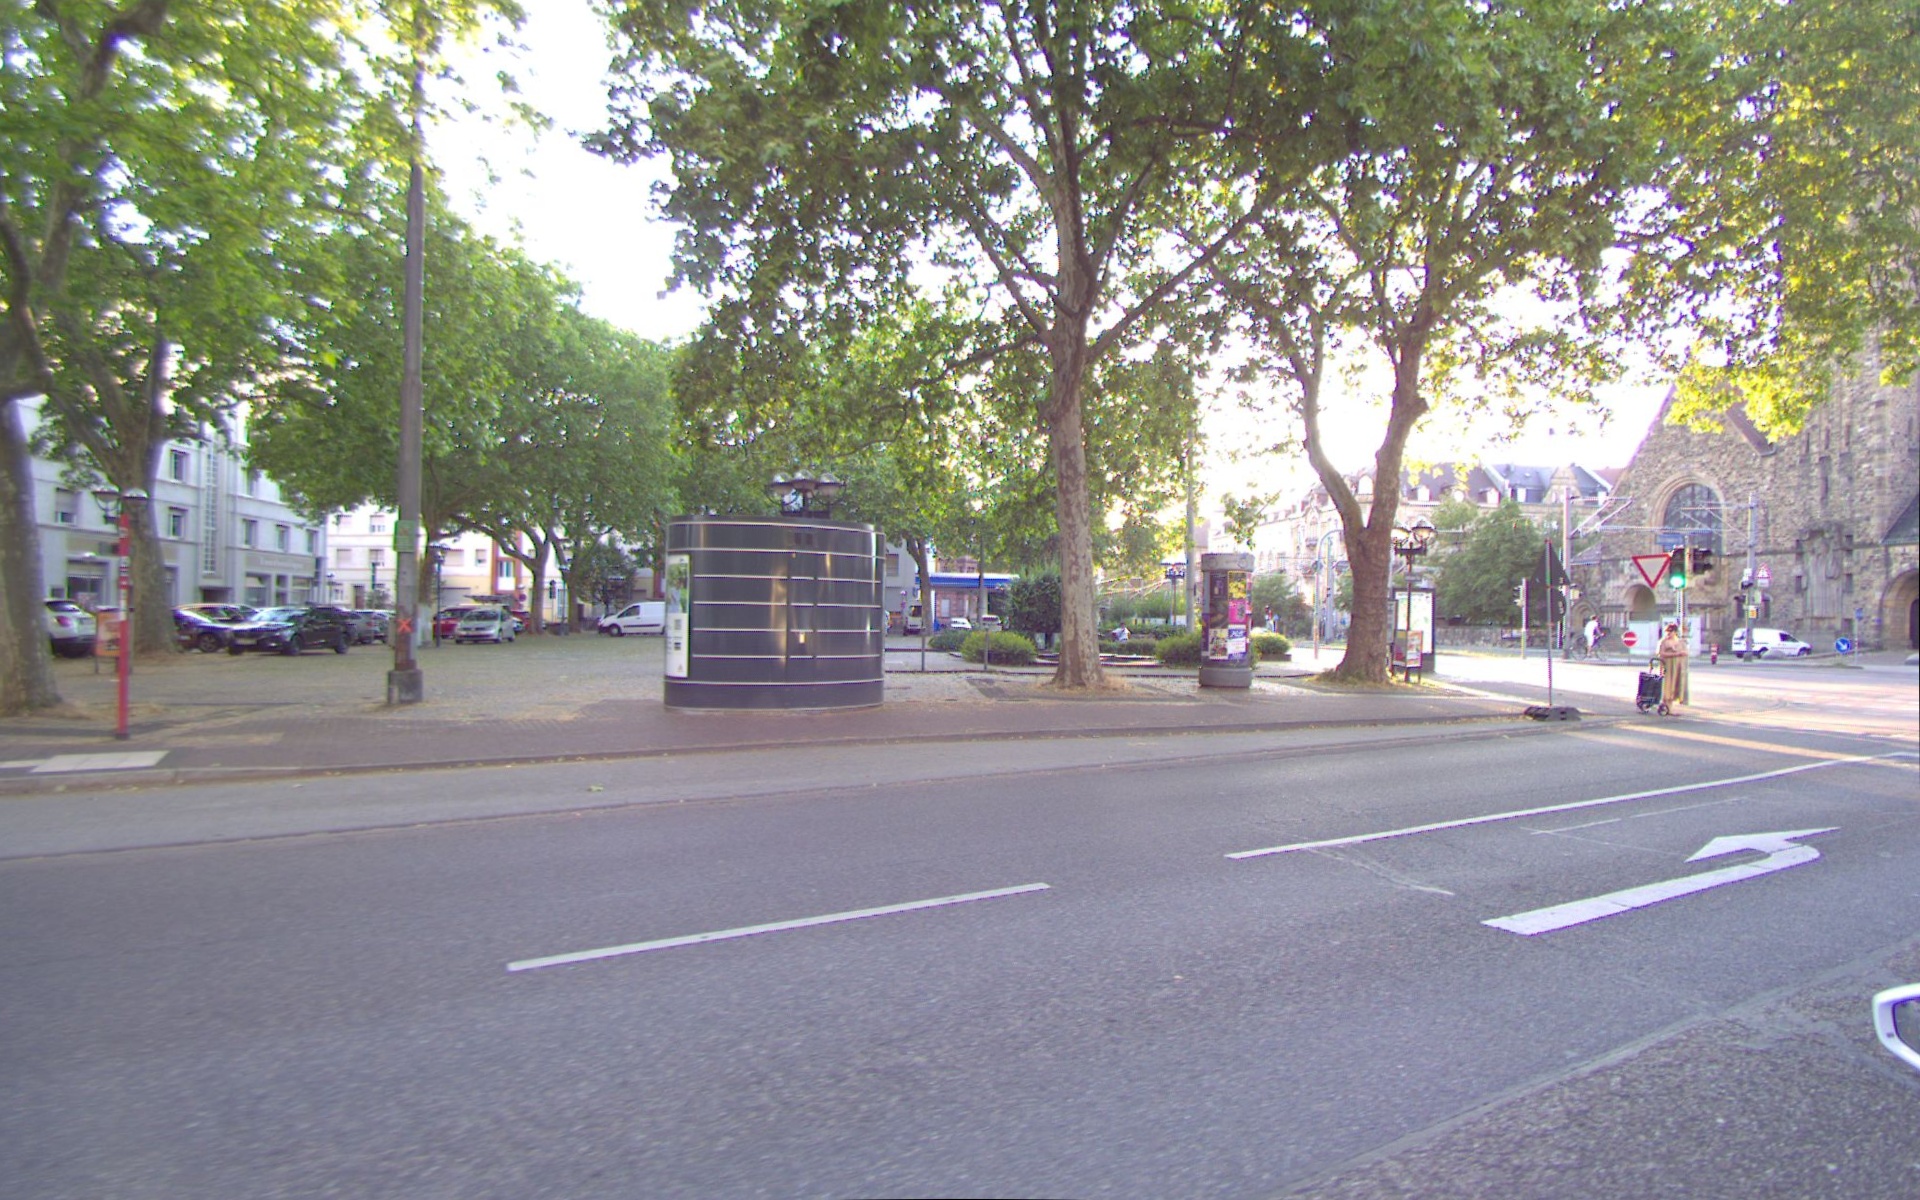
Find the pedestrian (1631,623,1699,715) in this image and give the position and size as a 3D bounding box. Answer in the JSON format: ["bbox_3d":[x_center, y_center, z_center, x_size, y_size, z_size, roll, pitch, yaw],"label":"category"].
[{"bbox_3d":[13.126,1.272,18.707,0.766,1.649,0.796,2,0,-35],"label":"pedestrian"}]

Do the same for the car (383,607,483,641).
[{"bbox_3d":[-28.279,1.282,54.086,4.572,1.758,1.990,0,-2,-22],"label":"car"}]

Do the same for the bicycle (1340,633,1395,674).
[{"bbox_3d":[11.315,1.486,27.870,1.780,1.107,0.455,2,0,-33],"label":"bicycle"}]

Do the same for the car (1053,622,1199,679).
[{"bbox_3d":[5.602,1.696,34.312,4.552,1.805,1.999,-1,-2,-5],"label":"car"}]

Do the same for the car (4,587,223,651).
[{"bbox_3d":[-25.074,0.563,29.927,4.557,1.805,1.997,0,-2,-10],"label":"car"}]

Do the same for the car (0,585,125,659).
[{"bbox_3d":[-24.306,0.580,25.328,4.557,1.805,1.997,0,-2,-10],"label":"car"}]

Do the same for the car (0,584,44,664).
[{"bbox_3d":[-23.750,0.565,22.357,4.557,1.805,1.997,0,-2,-10],"label":"car"}]

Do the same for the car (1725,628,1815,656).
[{"bbox_3d":[50.361,2.604,62.490,4.372,1.537,1.718,2,0,-6],"label":"car"}]

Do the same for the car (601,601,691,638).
[{"bbox_3d":[-17.459,1.113,56.072,4.557,1.964,1.997,0,-2,-10],"label":"car"}]

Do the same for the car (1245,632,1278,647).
[{"bbox_3d":[33.826,4.442,112.674,1.964,1.639,3.994,2,-3,-10],"label":"car"}]

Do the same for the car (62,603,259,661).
[{"bbox_3d":[-25.733,1.019,32.507,4.557,1.758,1.997,0,-2,-10],"label":"car"}]

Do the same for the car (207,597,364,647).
[{"bbox_3d":[-25.910,0.848,38.738,4.557,1.805,1.997,0,-2,-10],"label":"car"}]

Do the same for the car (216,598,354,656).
[{"bbox_3d":[-19.843,0.805,29.733,1.642,1.549,3.760,2,-2,-4],"label":"car"}]

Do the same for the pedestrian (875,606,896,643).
[{"bbox_3d":[-3.438,1.120,46.364,0.869,1.694,0.740,2,0,-8],"label":"pedestrian"}]

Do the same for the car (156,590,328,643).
[{"bbox_3d":[-25.722,0.609,36.151,4.557,1.805,2.090,0,-2,-10],"label":"car"}]

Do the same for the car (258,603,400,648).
[{"bbox_3d":[-26.231,1.060,41.891,4.557,1.758,1.997,0,-2,-10],"label":"car"}]

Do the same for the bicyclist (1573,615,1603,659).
[{"bbox_3d":[27.233,1.606,43.570,0.843,1.852,0.658,-1,1,-4],"label":"bicyclist"}]

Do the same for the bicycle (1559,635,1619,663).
[{"bbox_3d":[27.273,2.133,43.568,2.201,1.092,0.658,2,2,-2],"label":"bicycle"}]

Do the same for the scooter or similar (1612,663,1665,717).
[{"bbox_3d":[12.367,1.623,18.312,0.845,0.910,0.586,2,0,-40],"label":"scooter or similar"}]

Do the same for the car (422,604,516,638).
[{"bbox_3d":[-27.822,1.181,57.042,4.578,1.834,1.992,0,-2,-20],"label":"car"}]

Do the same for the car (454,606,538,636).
[{"bbox_3d":[-28.535,1.291,61.951,4.572,1.758,1.990,0,-2,-22],"label":"car"}]

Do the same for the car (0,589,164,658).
[{"bbox_3d":[-25.026,0.656,27.570,4.557,1.805,1.997,0,-2,-10],"label":"car"}]

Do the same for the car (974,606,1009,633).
[{"bbox_3d":[2.257,1.390,72.932,1.882,1.873,3.995,2,0,-7],"label":"car"}]

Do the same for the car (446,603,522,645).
[{"bbox_3d":[-20.403,1.006,43.215,1.642,1.684,3.760,2,-1,-4],"label":"car"}]

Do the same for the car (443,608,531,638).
[{"bbox_3d":[-27.968,1.365,59.525,4.572,1.758,1.990,0,-2,-22],"label":"car"}]

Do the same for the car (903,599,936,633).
[{"bbox_3d":[-2.967,1.134,72.179,1.963,2.374,3.995,2,0,-7],"label":"car"}]

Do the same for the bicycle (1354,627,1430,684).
[{"bbox_3d":[10.699,1.376,24.843,1.967,1.344,0.523,2,0,-26],"label":"bicycle"}]
